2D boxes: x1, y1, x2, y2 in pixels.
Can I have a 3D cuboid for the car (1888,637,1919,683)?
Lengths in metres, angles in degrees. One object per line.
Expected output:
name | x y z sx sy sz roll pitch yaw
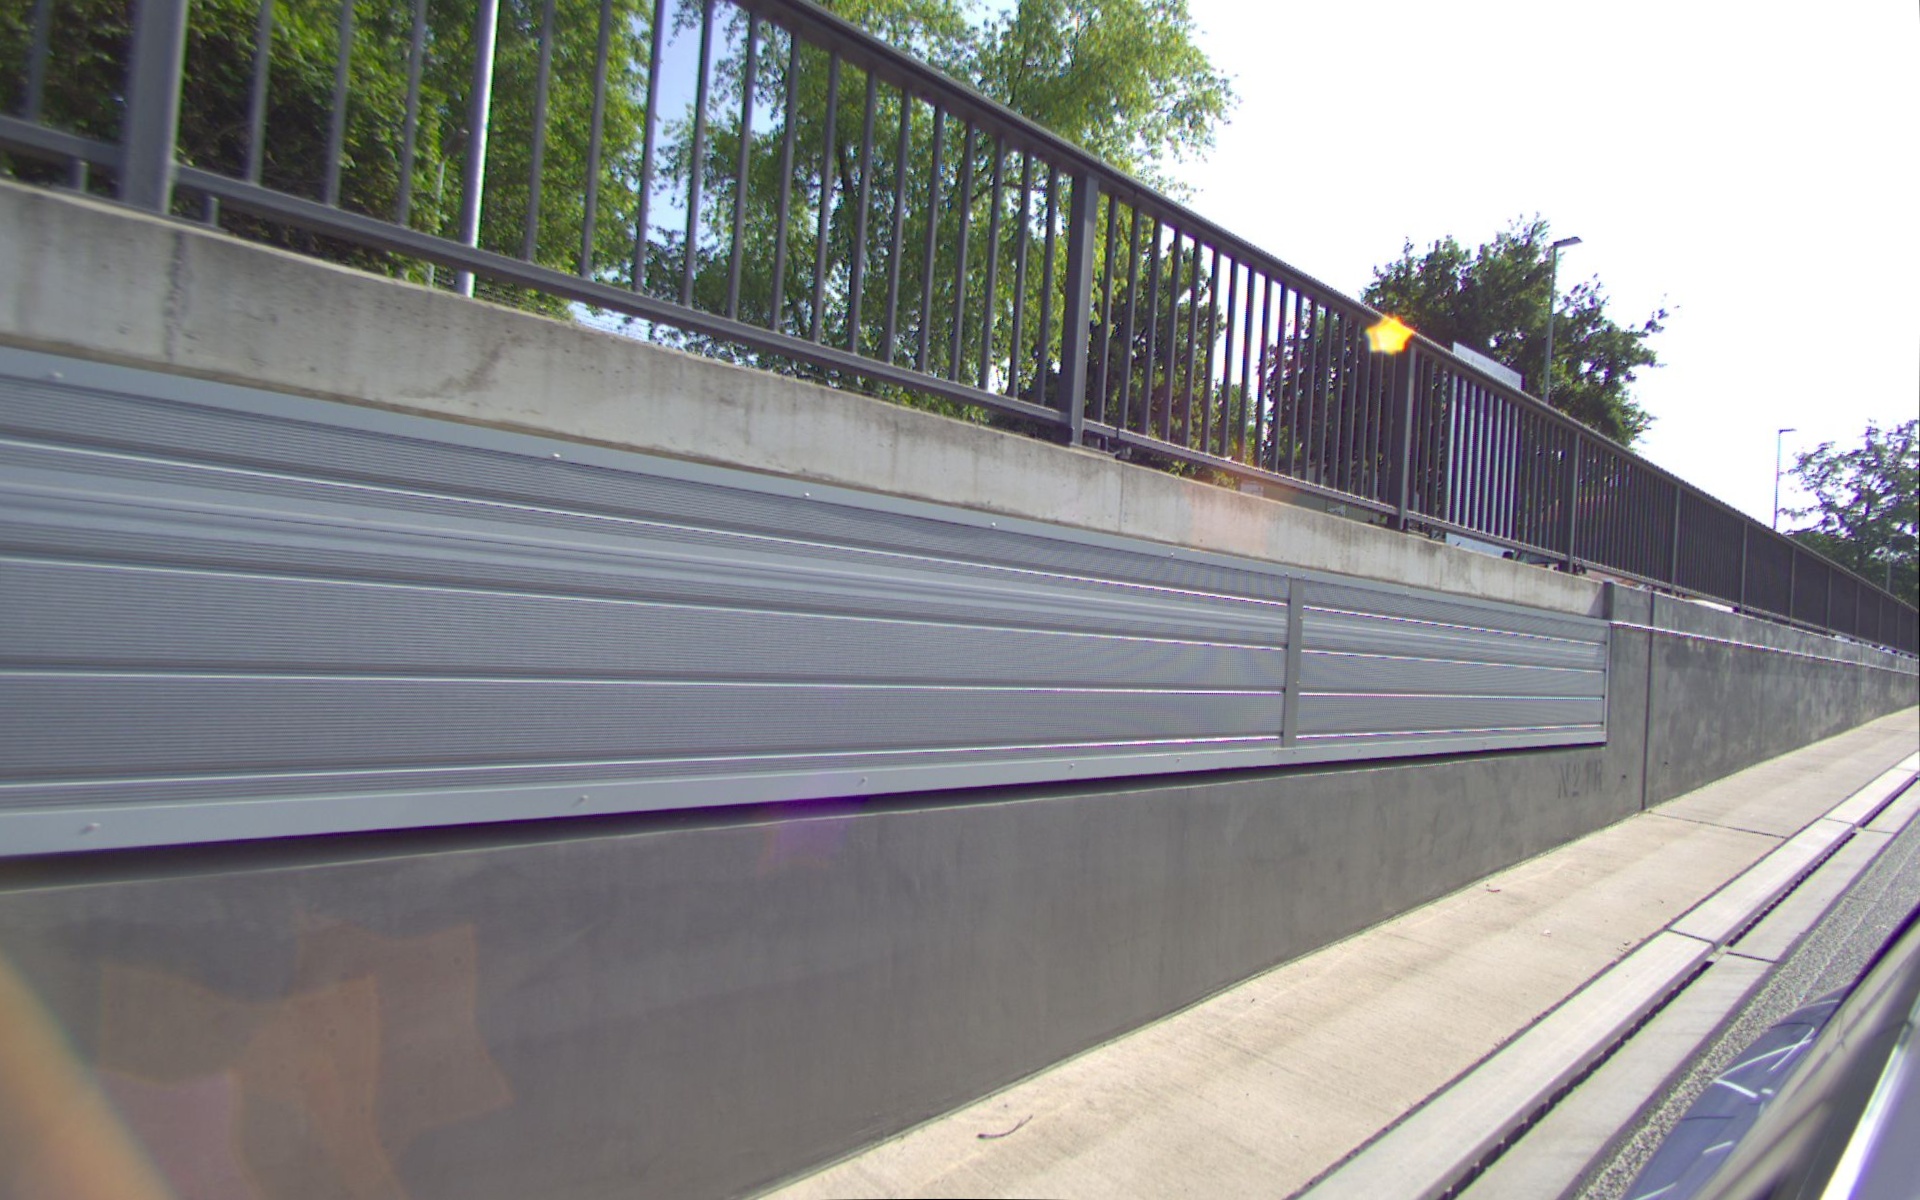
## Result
car | 36.212 2.288 37.685 4.173 1.591 1.896 5 -3 -39

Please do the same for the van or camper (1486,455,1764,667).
van or camper | 10.044 -0.342 15.032 5.954 2.504 1.989 4 -4 -42
